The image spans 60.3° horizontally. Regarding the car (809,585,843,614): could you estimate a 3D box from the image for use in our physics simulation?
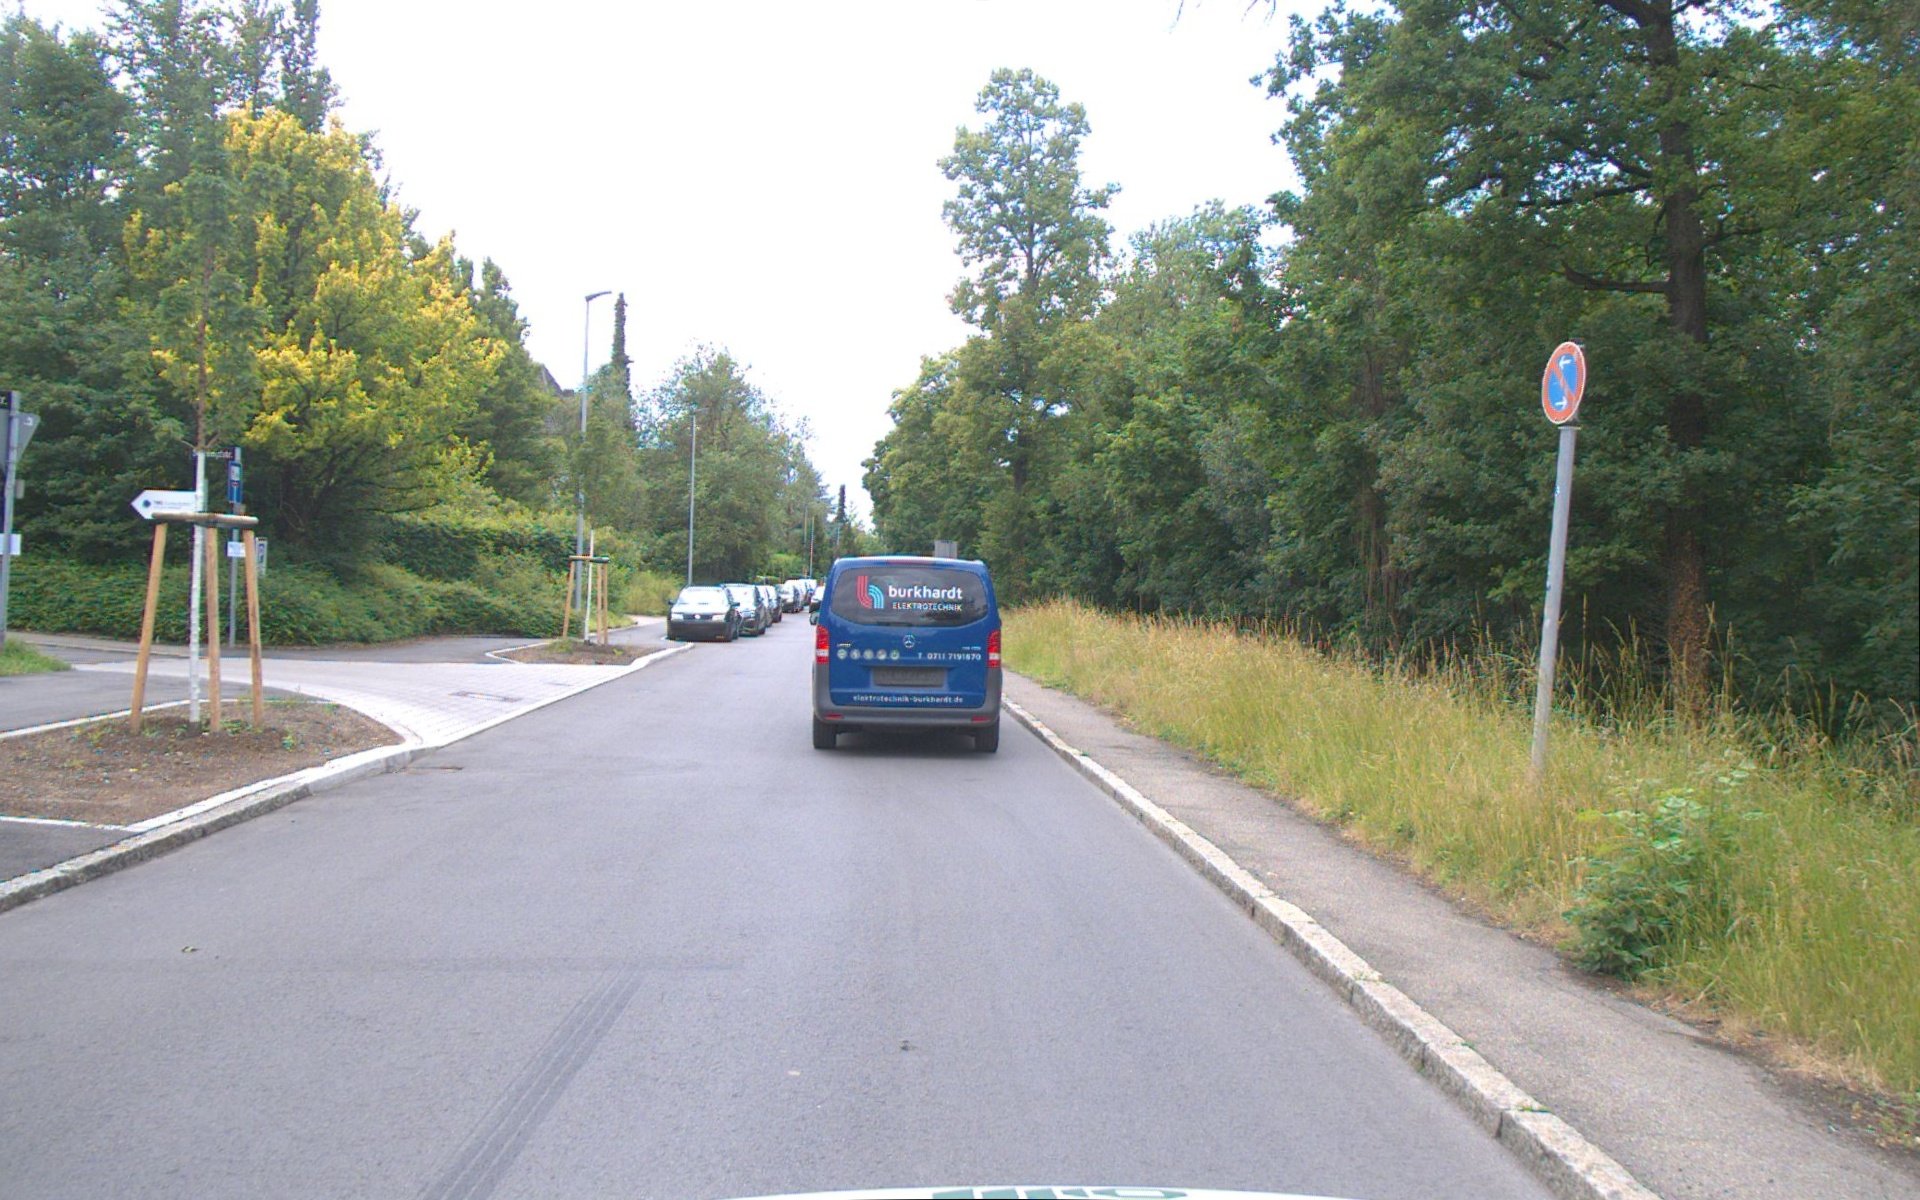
[{"bbox_3d":[-7.300,-0.052,90.314,1.745,1.450,4.485,2,0,-5],"label":"car"}]

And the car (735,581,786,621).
[{"bbox_3d":[-7.980,0.021,66.417,1.743,1.457,5.101,2,1,-5],"label":"car"}]

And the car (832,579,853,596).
[{"bbox_3d":[-12.524,-1.334,176.645,1.799,1.659,4.300,4,0,0],"label":"car"}]

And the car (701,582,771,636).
[{"bbox_3d":[-6.710,0.237,49.872,1.672,1.508,4.493,1,1,-3],"label":"car"}]

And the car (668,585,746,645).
[{"bbox_3d":[-6.818,0.368,44.887,1.649,1.508,4.690,1,1,-4],"label":"car"}]

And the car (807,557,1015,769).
[{"bbox_3d":[-0.604,0.540,17.327,1.852,1.876,3.997,2,1,-5],"label":"car"}]

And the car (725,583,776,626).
[{"bbox_3d":[-7.546,0.129,59.947,1.592,1.457,4.347,1,1,-5],"label":"car"}]
